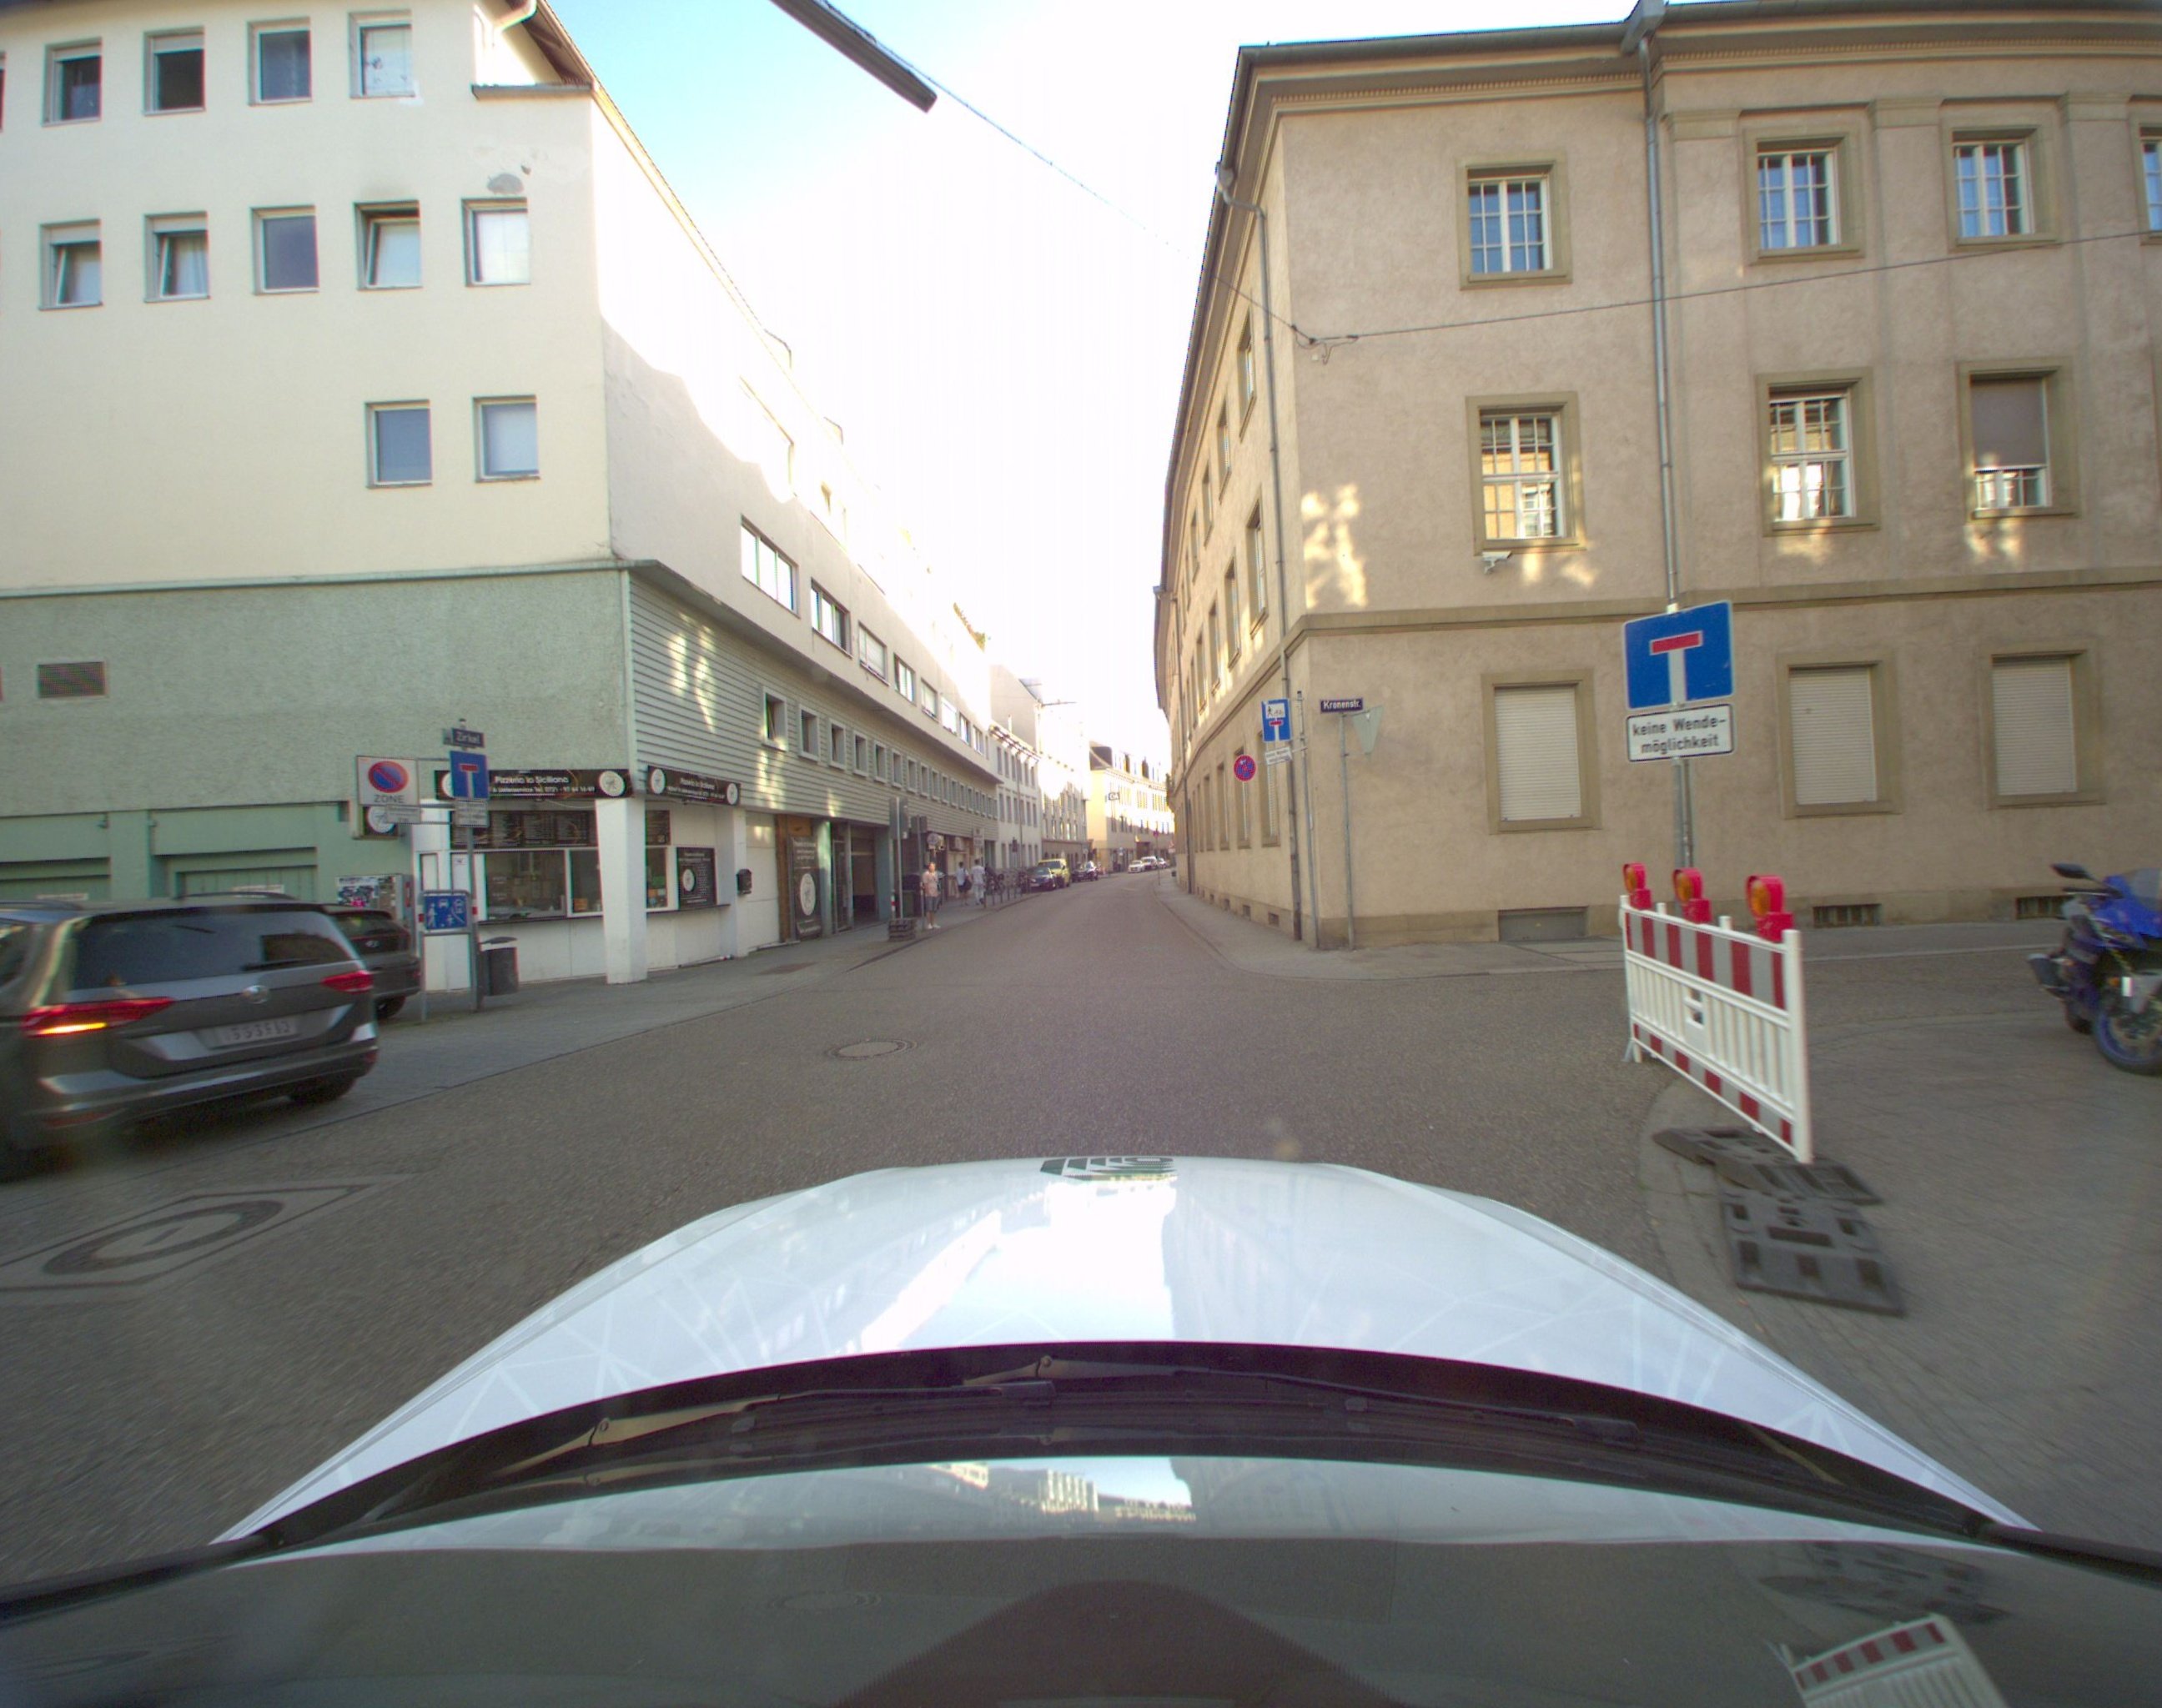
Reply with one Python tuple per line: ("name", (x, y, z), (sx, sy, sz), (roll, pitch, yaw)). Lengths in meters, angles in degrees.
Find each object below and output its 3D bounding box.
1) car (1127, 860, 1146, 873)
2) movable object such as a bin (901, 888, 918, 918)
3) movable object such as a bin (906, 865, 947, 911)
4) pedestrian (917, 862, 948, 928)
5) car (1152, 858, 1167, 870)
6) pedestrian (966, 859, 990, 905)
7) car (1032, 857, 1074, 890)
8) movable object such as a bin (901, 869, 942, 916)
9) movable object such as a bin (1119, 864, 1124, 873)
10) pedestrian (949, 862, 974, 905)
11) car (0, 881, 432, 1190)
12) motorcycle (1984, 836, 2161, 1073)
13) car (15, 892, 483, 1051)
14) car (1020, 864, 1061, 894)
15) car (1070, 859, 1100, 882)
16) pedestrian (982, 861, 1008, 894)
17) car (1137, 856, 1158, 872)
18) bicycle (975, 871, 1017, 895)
("car", (6.771, 1.523, 99.694), (1.659, 1.507, 3.806), (-4, -1, 12))
("movable object such as a bin", (-5.652, 1.613, 26.792), (0.391, 0.942, 0.467), (-3, 0, 2))
("movable object such as a bin", (-5.562, 1.212, 29.382), (1.118, 1.520, 1.343), (-3, 0, 2))
("pedestrian", (-3.823, 1.043, 20.973), (0.631, 1.670, 0.487), (0, -1, -45))
("car", (10.747, 1.320, 111.241), (1.261, 1.507, 3.417), (-5, -1, 18))
("pedestrian", (-4.067, 1.091, 32.172), (0.695, 1.734, 0.830), (-4, -1, 4))
("car", (-1.776, 1.238, 53.374), (1.871, 1.866, 4.872), (-5, -1, 6))
("movable object such as a bin", (-5.431, 1.301, 27.805), (0.965, 1.471, 1.475), (-3, 1, 2))
("movable object such as a bin", (5.003, 1.826, 101.207), (0.605, 1.060, 0.715), (-1, -1, 8))
("pedestrian", (-4.734, 1.159, 32.277), (0.669, 1.669, 0.895), (-4, -1, 4))
("car", (-7.078, 1.091, 5.741), (4.124, 1.568, 1.794), (-3, -1, 16))
("motorcycle", (6.511, 0.540, 5.161), (2.163, 1.225, 0.864), (-2, -3, -45))
("car", (-9.952, 1.354, 9.980), (3.918, 1.520, 1.693), (-3, -1, 0))
("car", (-2.352, 1.425, 47.989), (1.811, 1.486, 4.081), (-5, -1, 4))
("car", (0.402, 1.353, 69.362), (1.729, 1.711, 4.202), (-6, -1, 10))
("pedestrian", (-4.642, 1.275, 44.014), (1.067, 1.728, 0.807), (-3, -1, 27))
("car", (8.586, 1.292, 105.337), (1.657, 1.818, 4.572), (-5, -1, 17))
("bicycle", (-4.600, 1.572, 43.996), (2.108, 1.163, 0.828), (-3, -1, 27))
